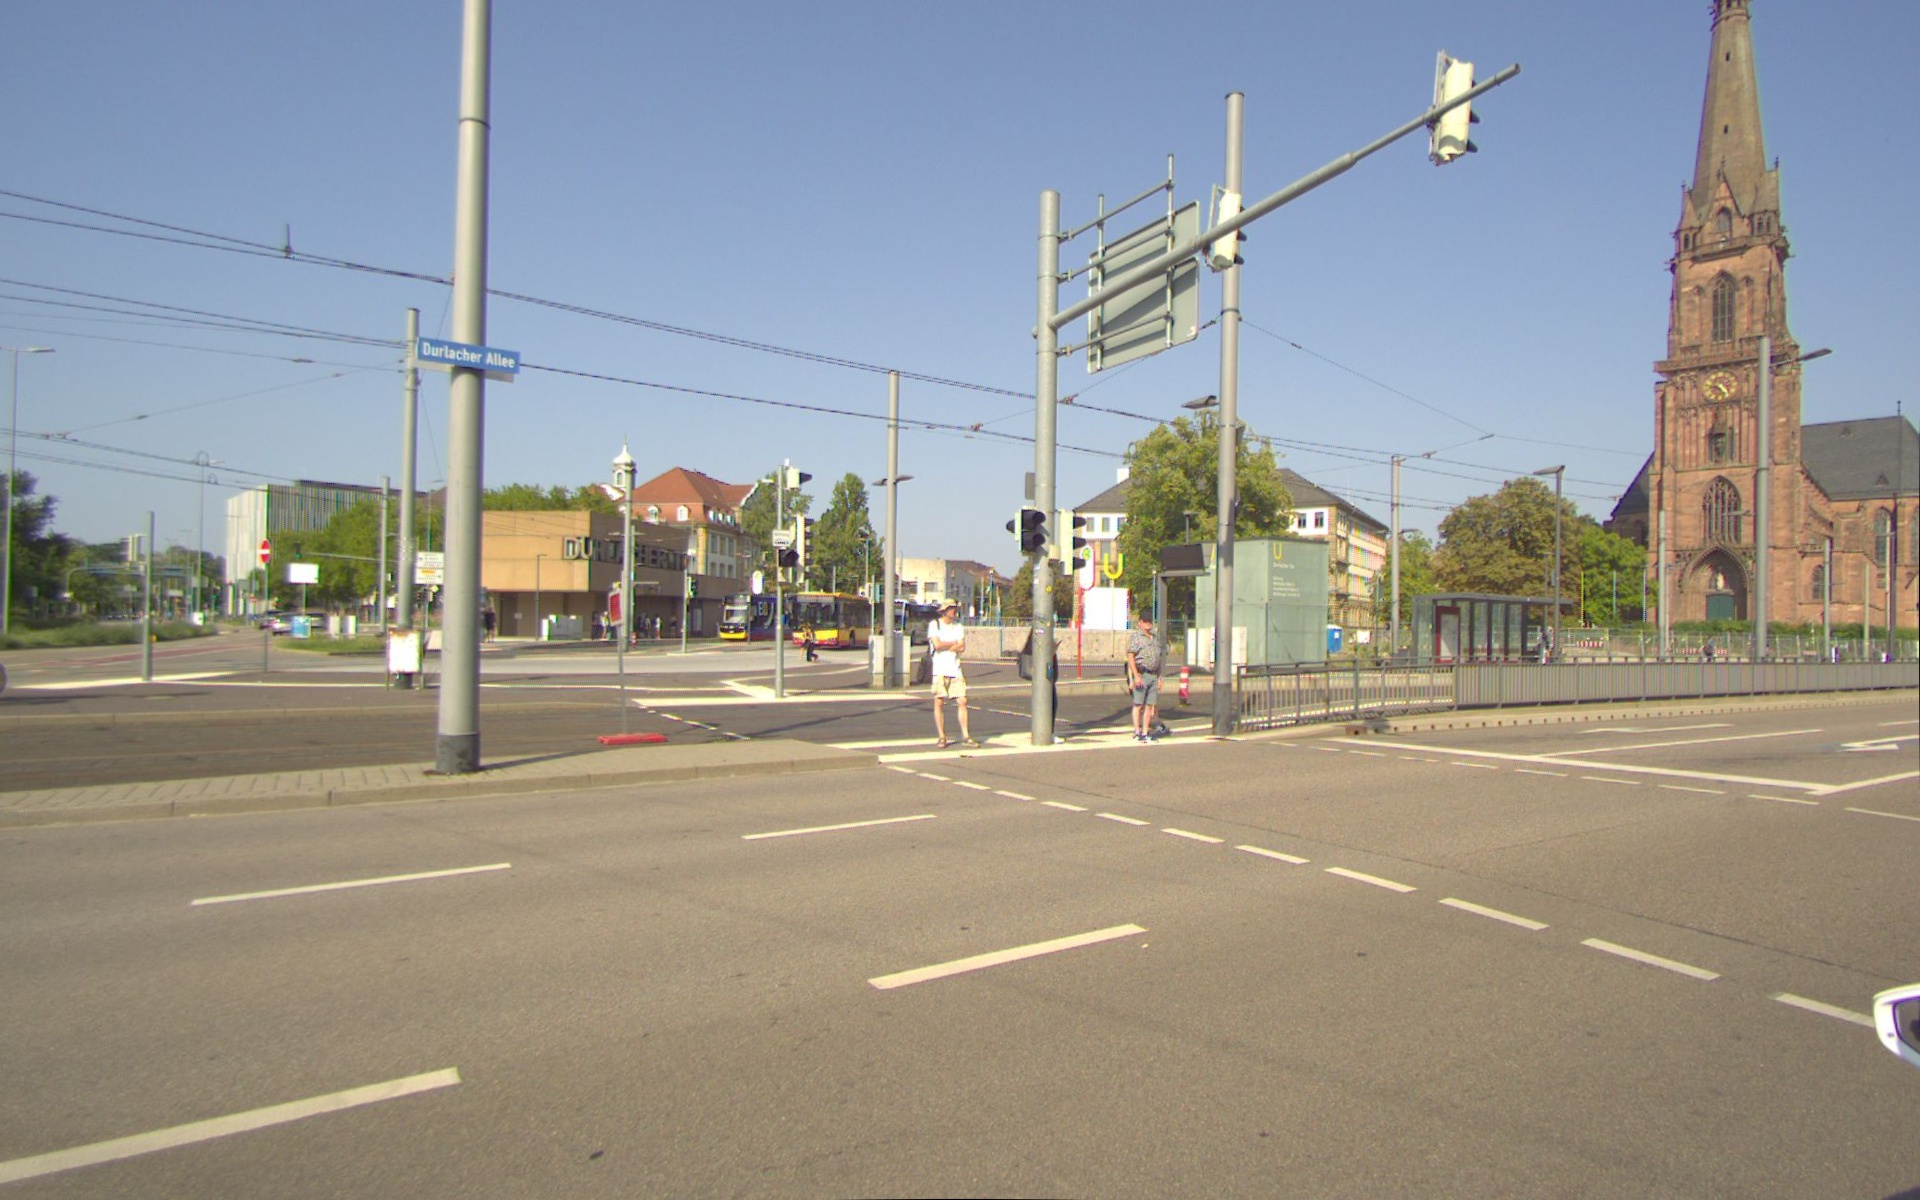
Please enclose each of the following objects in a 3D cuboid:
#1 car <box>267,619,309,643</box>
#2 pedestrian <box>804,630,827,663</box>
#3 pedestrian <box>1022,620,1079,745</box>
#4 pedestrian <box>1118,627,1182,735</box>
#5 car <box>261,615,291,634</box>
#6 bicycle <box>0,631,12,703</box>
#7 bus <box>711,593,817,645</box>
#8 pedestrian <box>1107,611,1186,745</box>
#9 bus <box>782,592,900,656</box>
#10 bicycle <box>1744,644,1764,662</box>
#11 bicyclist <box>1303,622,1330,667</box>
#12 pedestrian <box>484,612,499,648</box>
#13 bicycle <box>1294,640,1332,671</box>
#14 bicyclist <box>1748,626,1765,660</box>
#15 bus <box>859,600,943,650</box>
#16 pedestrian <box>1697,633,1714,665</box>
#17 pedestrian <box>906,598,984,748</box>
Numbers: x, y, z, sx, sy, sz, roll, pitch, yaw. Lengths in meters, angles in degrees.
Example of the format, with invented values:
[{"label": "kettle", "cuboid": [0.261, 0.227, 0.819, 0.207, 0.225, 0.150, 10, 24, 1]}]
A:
[{"label": "car", "cuboid": [-43.826, 2.006, 65.591, 1.759, 1.528, 3.973, 1, -2, -26]}, {"label": "pedestrian", "cuboid": [-5.745, 1.845, 40.053, 0.752, 1.309, 0.558, 1, -1, 11]}, {"label": "pedestrian", "cuboid": [1.198, 1.088, 13.391, 0.463, 1.618, 0.629, 2, -4, -34]}, {"label": "pedestrian", "cuboid": [2.854, 1.208, 15.142, 0.541, 1.568, 0.804, 2, -4, -31]}, {"label": "car", "cuboid": [-55.340, 1.966, 81.300, 1.474, 1.470, 3.501, 1, -2, -26]}, {"label": "bicycle", "cuboid": [-16.748, 1.098, 16.421, 1.829, 1.181, 0.376, 1, -1, -17]}, {"label": "bus", "cuboid": [-14.162, 1.478, 74.267, 3.159, 3.464, 13.327, 1, -1, 9]}, {"label": "pedestrian", "cuboid": [2.479, 1.028, 13.391, 0.644, 1.714, 0.810, 2, -4, -32]}, {"label": "bus", "cuboid": [-6.496, 1.405, 58.050, 3.159, 3.220, 13.327, 1, -1, 9]}, {"label": "bicycle", "cuboid": [42.897, 2.843, 54.253, 1.677, 0.966, 0.348, 2, -1, -32]}, {"label": "bicyclist", "cuboid": [13.335, 1.656, 37.560, 0.782, 1.678, 0.584, 2, -1, -32]}, {"label": "pedestrian", "cuboid": [-23.978, 1.535, 51.418, 0.395, 1.792, 0.559, 1, -1, 14]}, {"label": "bicycle", "cuboid": [13.172, 2.071, 37.489, 1.728, 1.124, 0.399, 2, -1, -34]}, {"label": "bicyclist", "cuboid": [43.035, 2.320, 54.250, 0.810, 1.770, 0.484, 2, -1, -32]}, {"label": "bus", "cuboid": [-3.997, 1.809, 72.385, 3.159, 3.220, 13.327, 1, -1, 9]}, {"label": "pedestrian", "cuboid": [40.126, 2.618, 54.073, 0.657, 1.723, 0.514, 1, -1, -33]}, {"label": "pedestrian", "cuboid": [-0.195, 0.909, 12.682, 0.719, 1.811, 0.830, 1, -3, -24]}]
